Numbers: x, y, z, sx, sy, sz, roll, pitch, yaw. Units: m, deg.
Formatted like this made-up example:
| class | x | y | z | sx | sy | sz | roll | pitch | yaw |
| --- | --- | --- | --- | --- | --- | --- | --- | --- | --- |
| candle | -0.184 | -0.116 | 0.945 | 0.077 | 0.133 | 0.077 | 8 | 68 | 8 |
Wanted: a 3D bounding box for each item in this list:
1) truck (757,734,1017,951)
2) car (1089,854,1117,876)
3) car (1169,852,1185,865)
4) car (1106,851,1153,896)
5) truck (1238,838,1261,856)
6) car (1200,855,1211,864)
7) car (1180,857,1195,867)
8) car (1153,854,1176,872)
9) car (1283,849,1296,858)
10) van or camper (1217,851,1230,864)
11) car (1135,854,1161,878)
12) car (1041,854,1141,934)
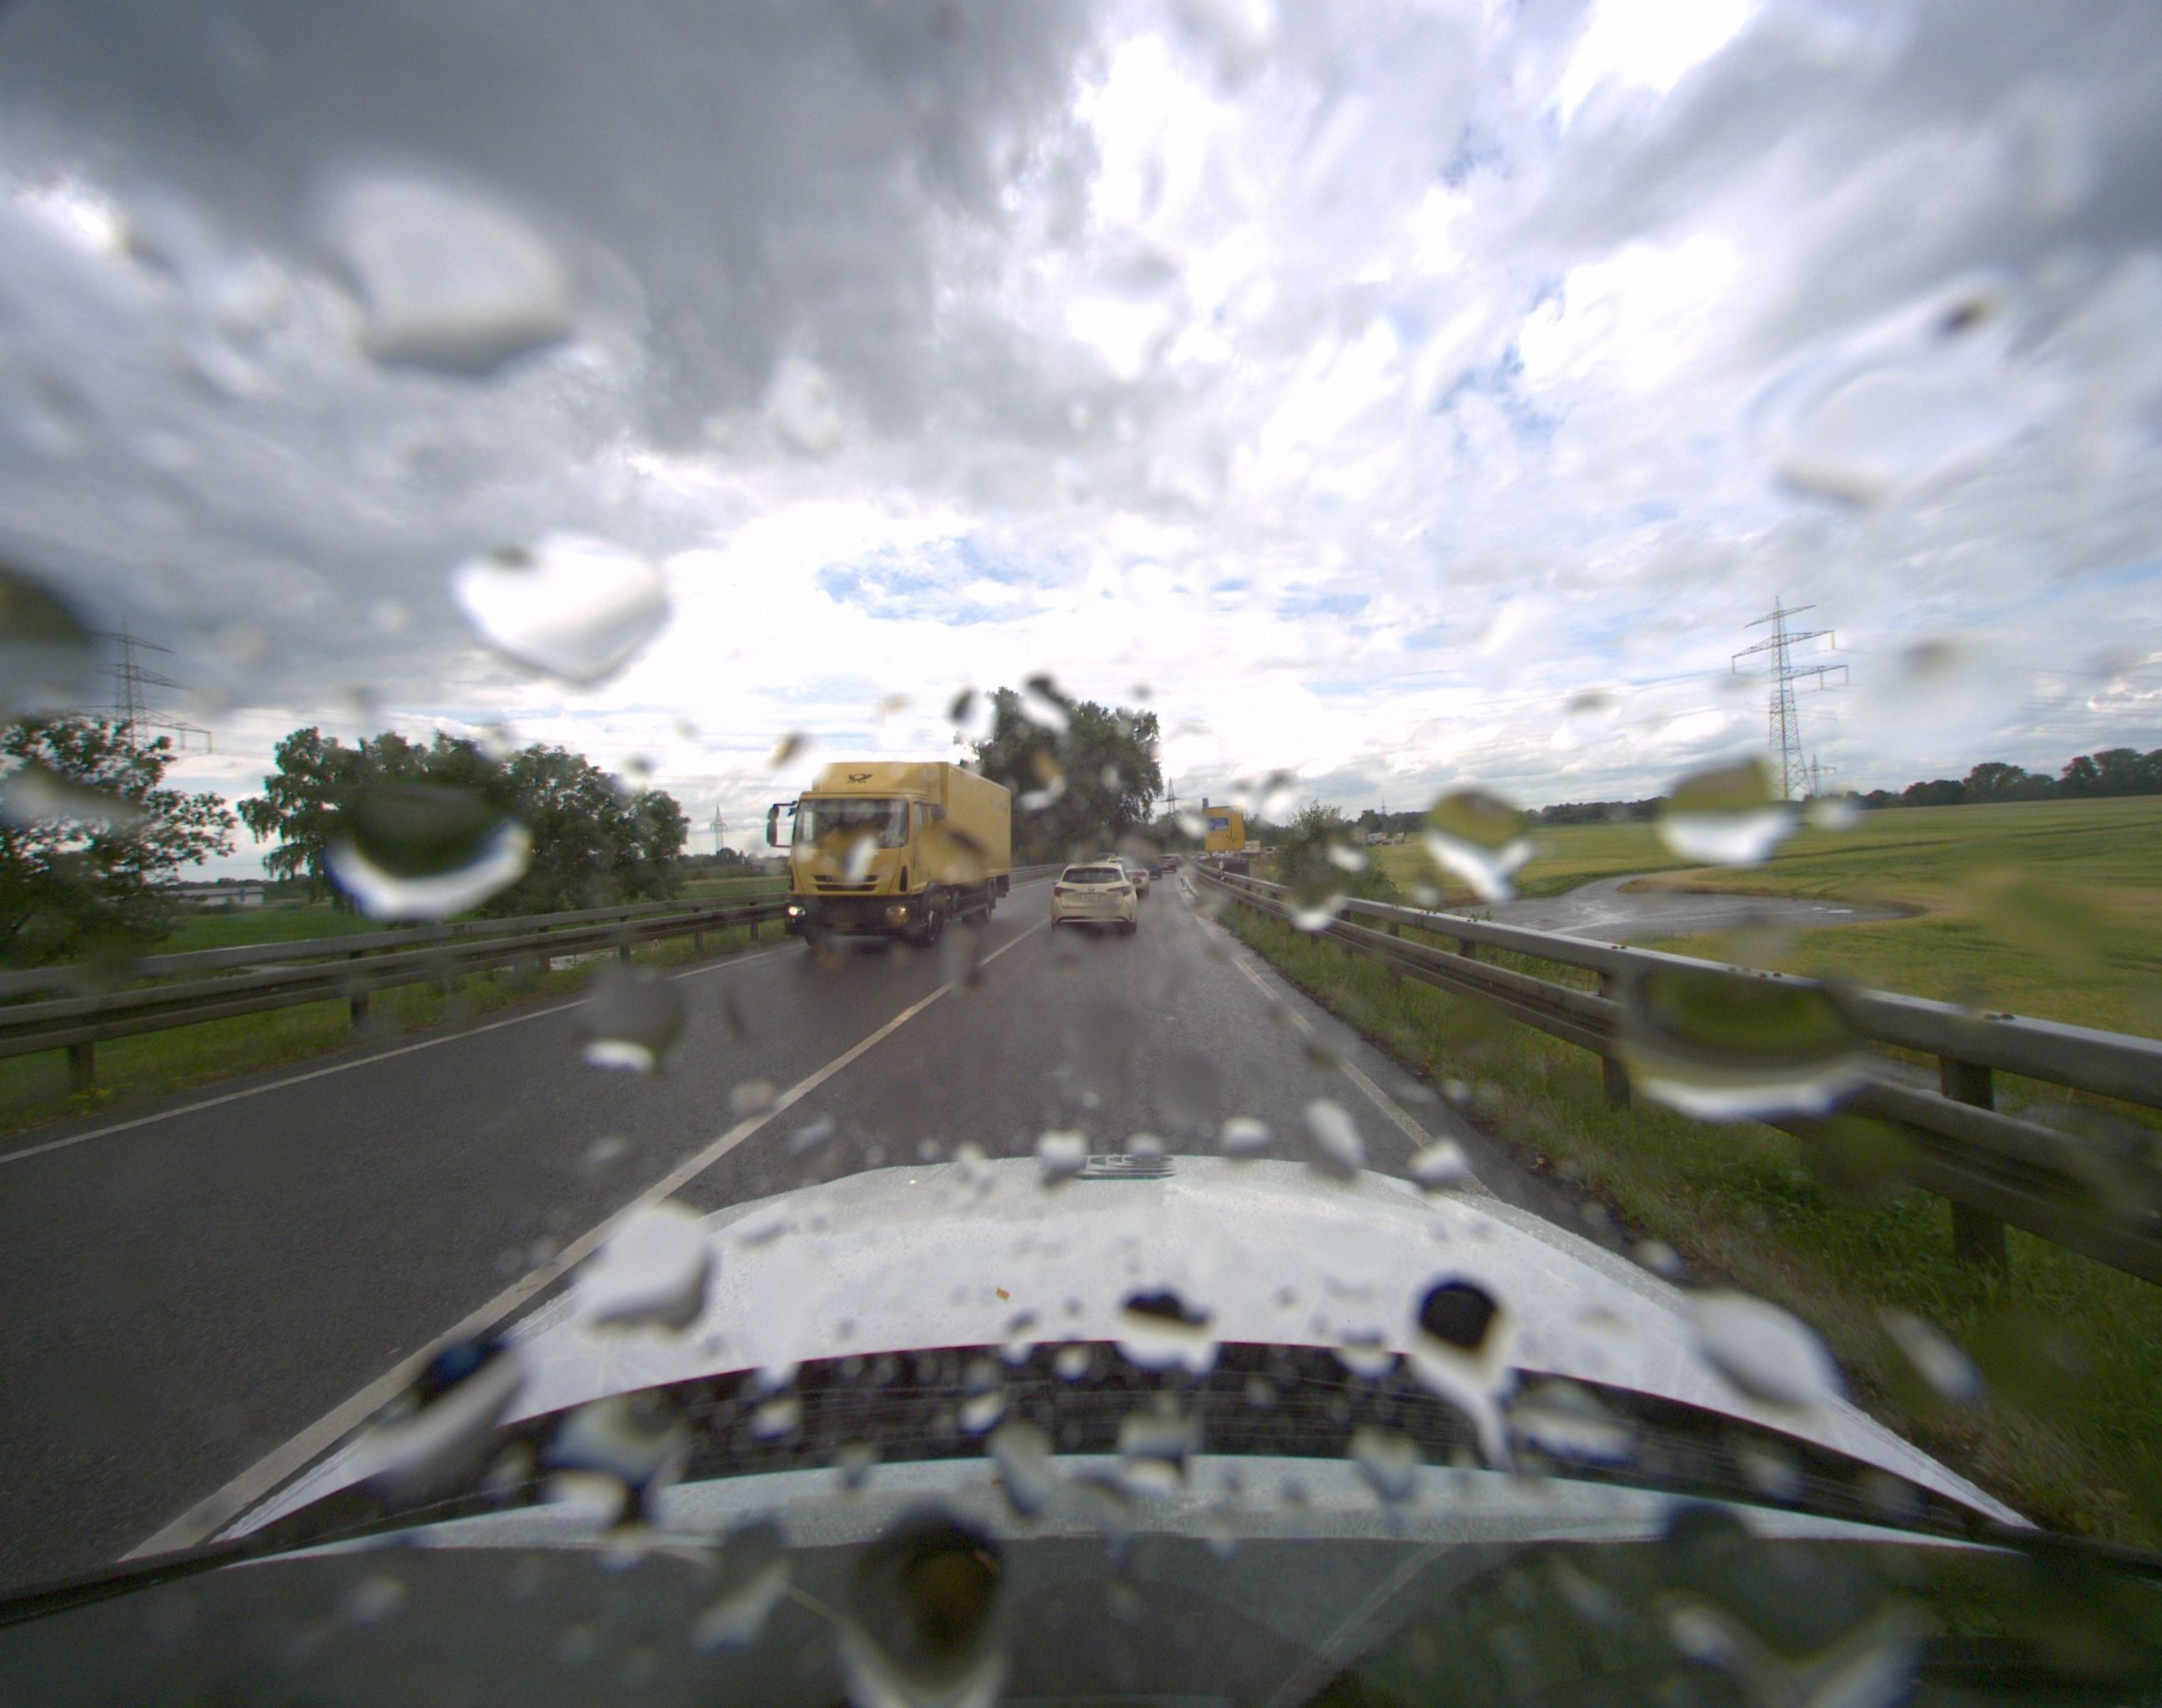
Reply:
| class | x | y | z | sx | sy | sz | roll | pitch | yaw |
| --- | --- | --- | --- | --- | --- | --- | --- | --- | --- |
| truck | -3.464 | -0.178 | 17.539 | 2.758 | 3.429 | 9.198 | 0 | 0 | 4 |
| car | 1.775 | 0.822 | 64.345 | 1.736 | 1.654 | 4.534 | -1 | 0 | 8 |
| car | 11.156 | 0.544 | 94.166 | 1.650 | 1.409 | 3.914 | -1 | -1 | 9 |
| car | 1.863 | 0.699 | 30.588 | 1.570 | 1.572 | 3.687 | -1 | 0 | 6 |
| truck | 34.930 | -1.306 | 168.739 | 3.112 | 3.562 | 7.562 | -1 | -1 | 23 |
| car | 19.041 | 0.783 | 124.798 | 1.473 | 1.309 | 3.488 | -1 | 0 | 11 |
| car | 14.027 | 1.078 | 107.430 | 1.471 | 1.309 | 3.491 | -1 | 0 | 15 |
| car | 6.956 | 0.749 | 67.429 | 1.655 | 1.464 | 3.486 | -1 | 0 | 9 |
| car | 52.073 | -0.200 | 203.512 | 1.974 | 2.014 | 4.024 | -5 | -3 | 28 |
| van or camper | 25.128 | 0.685 | 143.527 | 1.979 | 2.254 | 4.015 | -1 | -1 | 14 |
| car | 4.223 | 0.738 | 51.026 | 1.498 | 1.437 | 3.361 | -1 | 0 | 6 |
| car | 0.342 | 0.791 | 17.997 | 1.897 | 1.537 | 4.167 | -1 | 0 | 5 |
